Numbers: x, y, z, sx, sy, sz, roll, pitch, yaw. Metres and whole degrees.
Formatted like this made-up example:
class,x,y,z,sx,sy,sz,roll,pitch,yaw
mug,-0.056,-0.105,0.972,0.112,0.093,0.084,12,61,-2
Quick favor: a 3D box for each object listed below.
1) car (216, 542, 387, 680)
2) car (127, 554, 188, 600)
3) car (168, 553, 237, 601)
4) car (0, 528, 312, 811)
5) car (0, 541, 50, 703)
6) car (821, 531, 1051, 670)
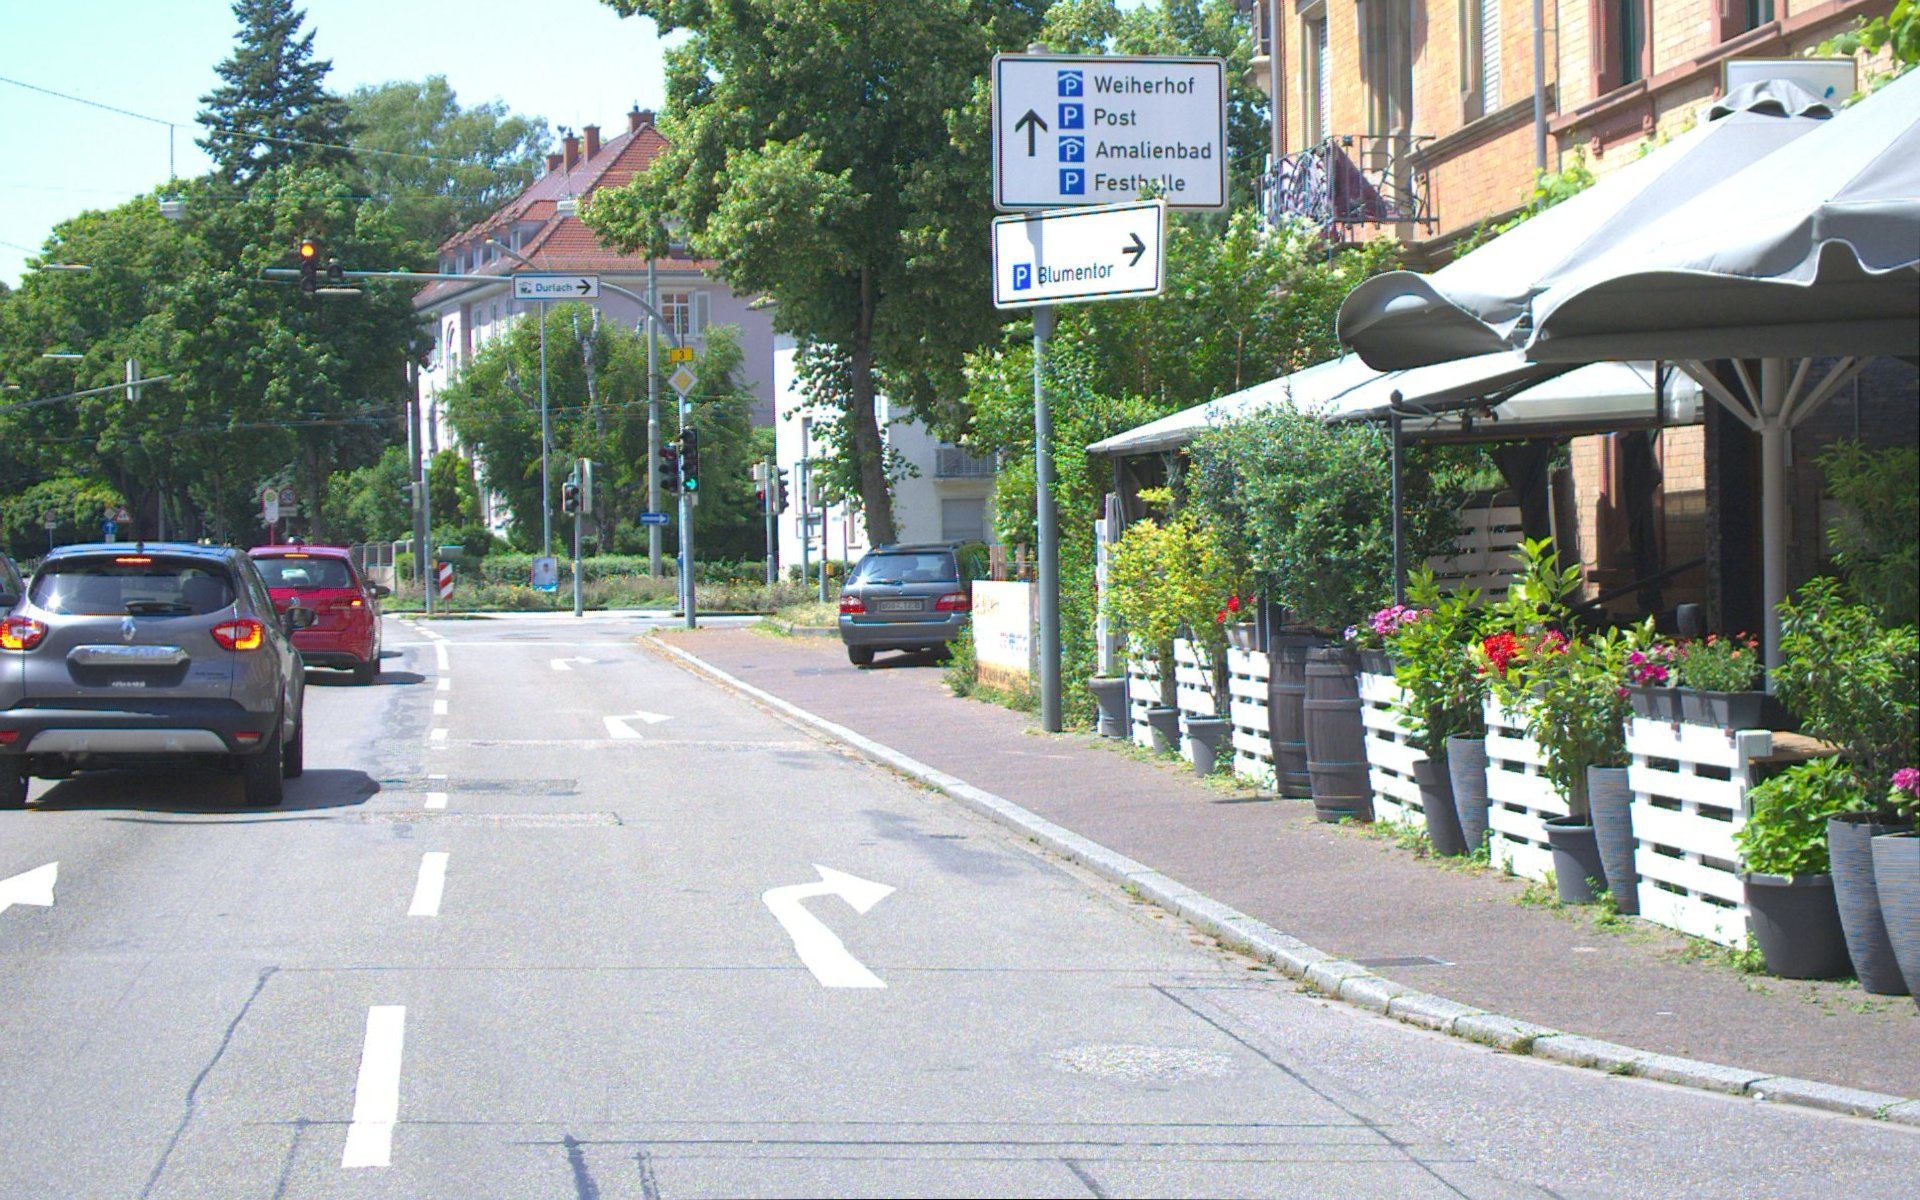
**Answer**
class,x,y,z,sx,sy,sz,roll,pitch,yaw
car,-7.769,0.113,40.858,1.798,1.552,4.038,0,0,-8
car,-33.680,-0.961,144.250,1.993,1.900,4.001,0,1,-21
car,-29.005,-0.893,131.601,1.993,1.801,4.001,0,1,-21
car,-5.119,0.375,21.857,1.753,1.626,4.001,0,1,-8
car,-10.412,0.219,34.972,1.701,1.569,4.313,-2,1,-8
car,-0.224,-0.038,43.639,1.835,1.543,5.154,-1,2,12
